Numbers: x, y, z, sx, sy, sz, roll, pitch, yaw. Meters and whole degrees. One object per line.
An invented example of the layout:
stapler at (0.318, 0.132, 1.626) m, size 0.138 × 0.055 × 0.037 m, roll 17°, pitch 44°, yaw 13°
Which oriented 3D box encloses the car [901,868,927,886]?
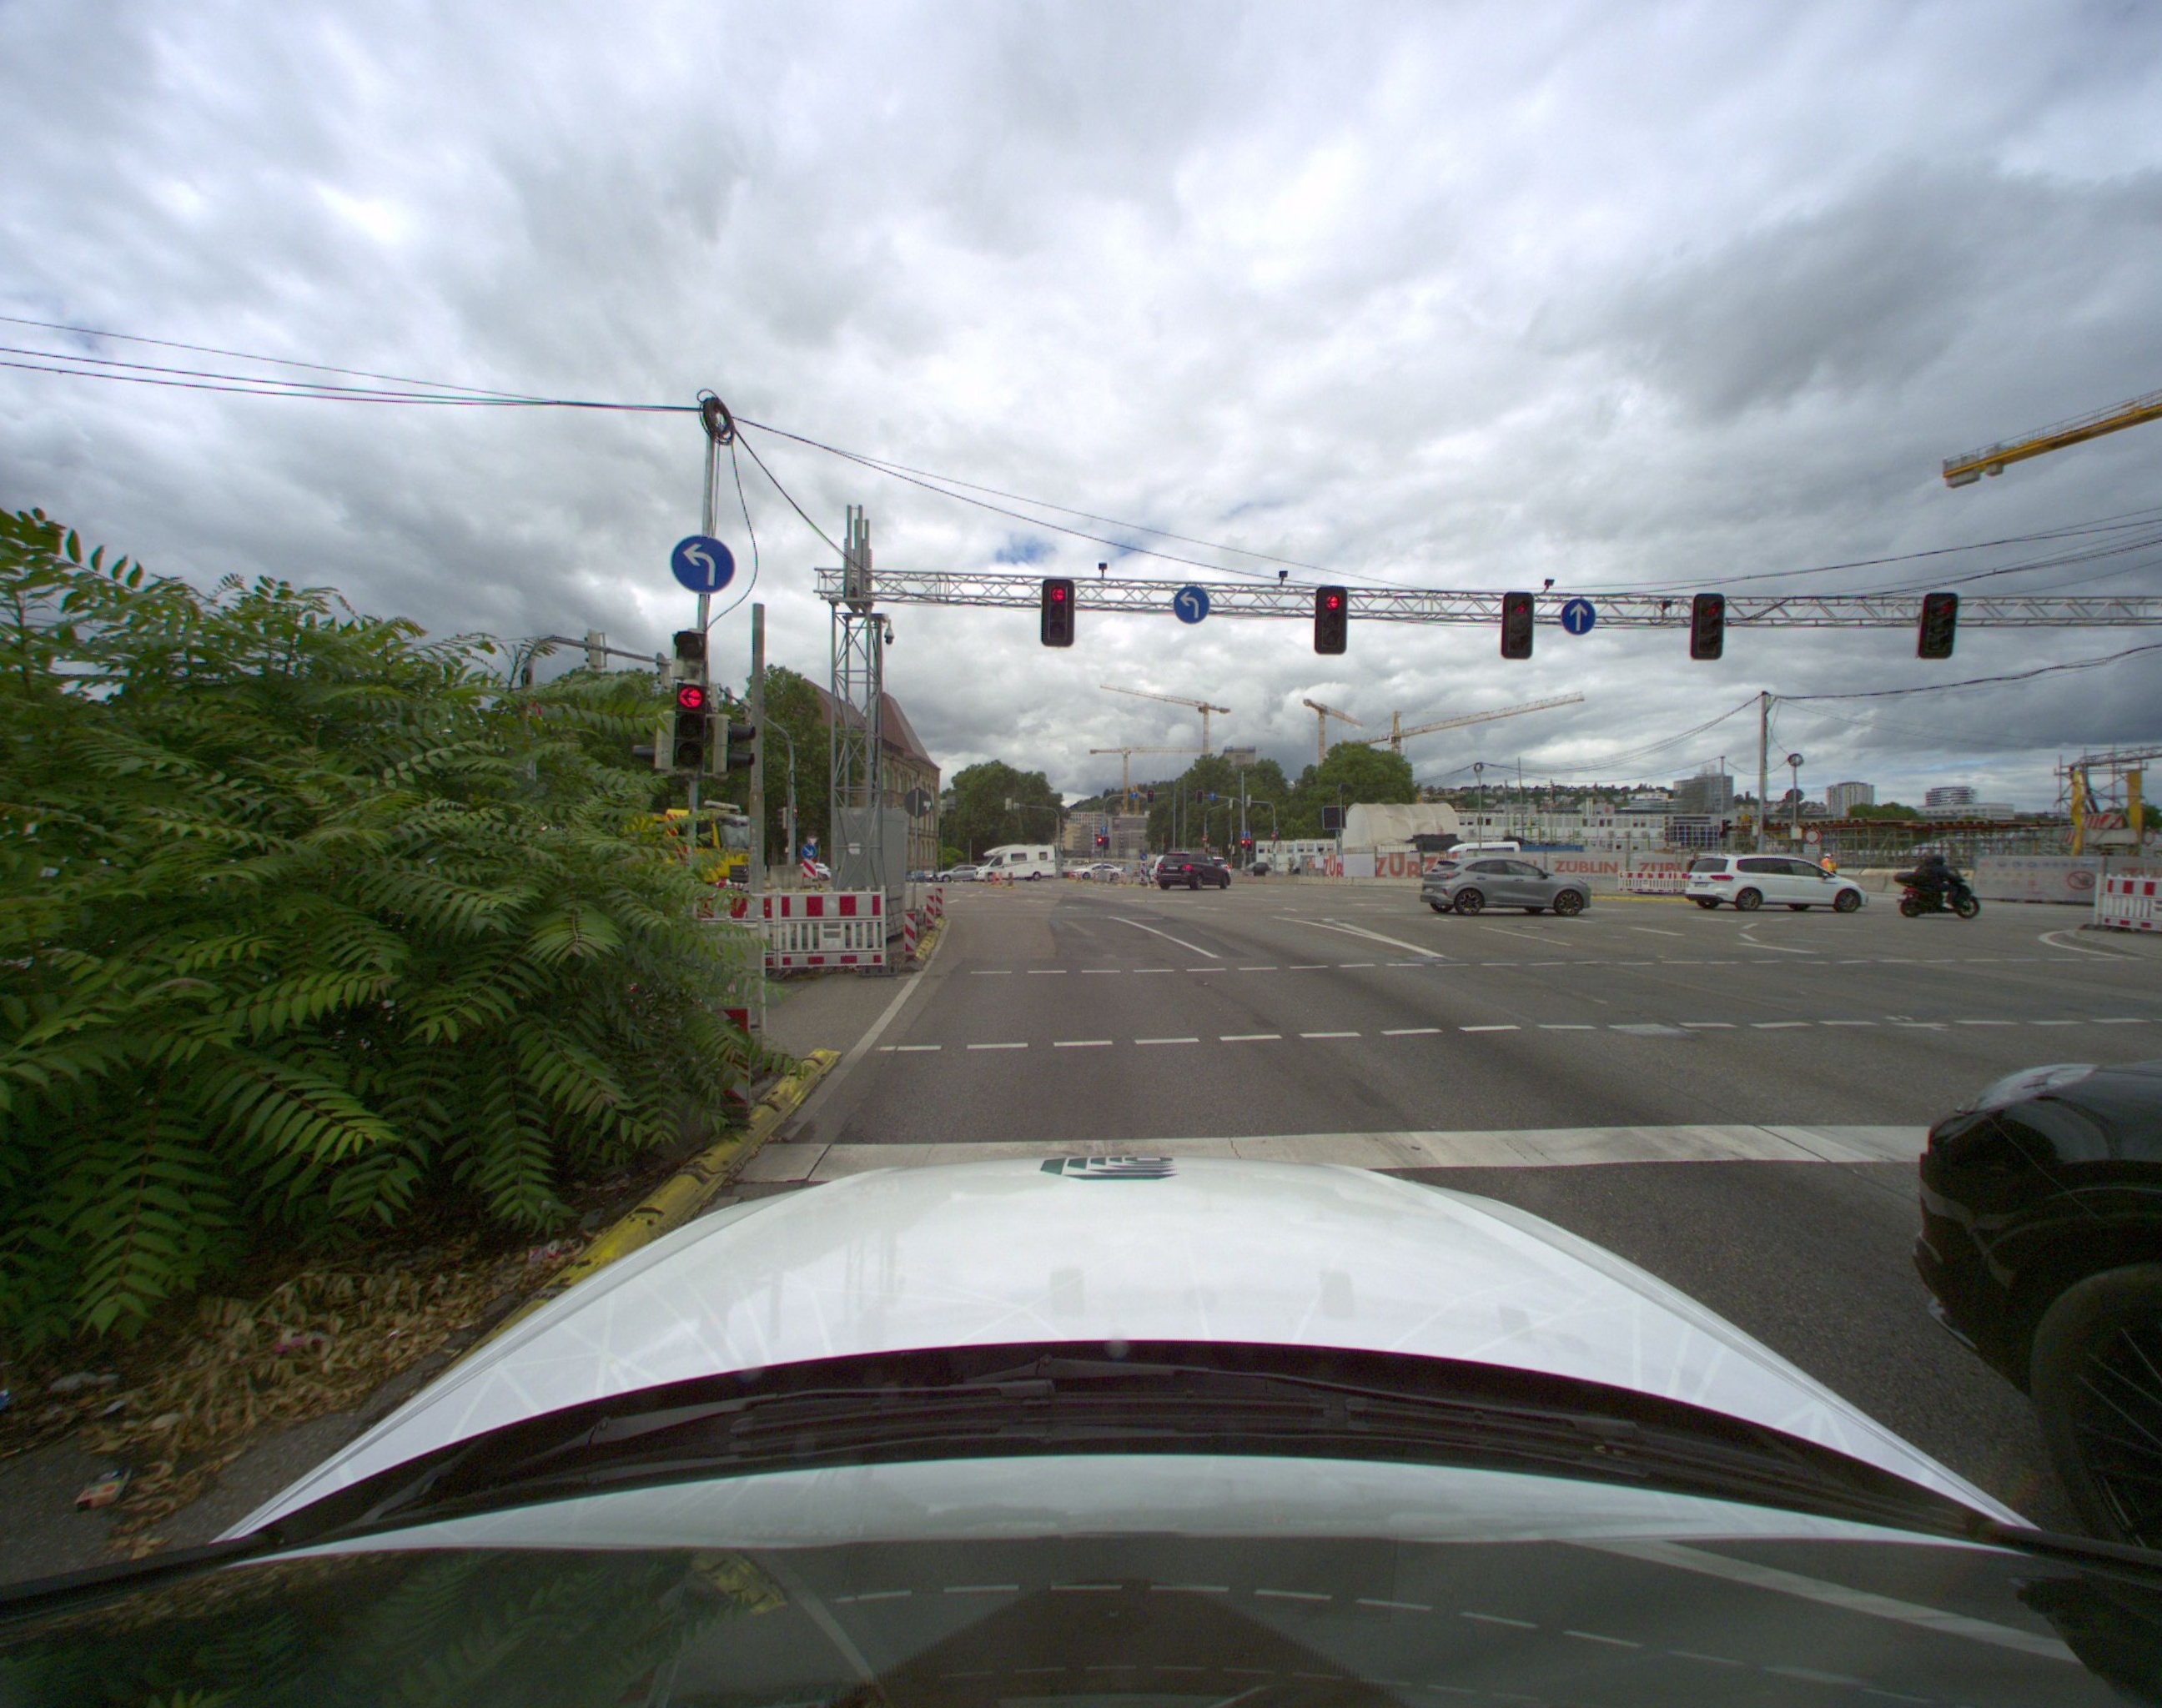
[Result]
car at (-17.889, 2.404, 87.304) m, size 1.987 × 1.838 × 3.998 m, roll 0°, pitch -1°, yaw -1°

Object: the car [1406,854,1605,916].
car at (11.172, 0.792, 21.651) m, size 4.281 × 1.540 × 1.999 m, roll 0°, pitch -1°, yaw -1°

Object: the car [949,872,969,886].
car at (-16.905, 3.489, 113.200) m, size 1.985 × 1.838 × 4.003 m, roll 0°, pitch -1°, yaw 3°

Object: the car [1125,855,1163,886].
car at (3.980, 1.022, 51.891) m, size 1.859 × 1.833 × 4.717 m, roll 0°, pitch -1°, yaw -3°

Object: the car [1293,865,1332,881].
car at (24.887, 2.033, 87.747) m, size 3.959 × 1.728 × 2.007 m, roll -1°, pitch -1°, yaw 13°

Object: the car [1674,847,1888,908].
car at (20.762, 0.681, 24.319) m, size 4.653 × 1.702 × 2.001 m, roll 1°, pitch -1°, yaw 1°

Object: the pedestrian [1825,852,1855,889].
pedestrian at (39.178, 0.843, 42.051) m, size 0.677 × 1.916 × 0.865 m, roll 0°, pitch -1°, yaw -4°

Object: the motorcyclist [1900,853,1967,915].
motorcyclist at (22.371, 0.777, 21.385) m, size 0.875 × 1.571 × 0.818 m, roll 0°, pitch -1°, yaw 2°

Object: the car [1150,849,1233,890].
car at (5.245, 0.691, 38.301) m, size 1.974 × 1.834 × 4.284 m, roll -1°, pitch -1°, yaw 38°

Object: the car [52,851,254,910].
car at (-28.766, 0.805, 25.351) m, size 3.975 × 1.740 × 1.909 m, roll 1°, pitch -1°, yaw -1°

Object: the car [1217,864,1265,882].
car at (15.254, 1.795, 77.569) m, size 3.995 × 1.684 × 1.989 m, roll 0°, pitch -1°, yaw -16°

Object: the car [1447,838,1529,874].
car at (23.472, 0.127, 47.095) m, size 3.955 × 2.014 × 2.009 m, roll -1°, pitch -1°, yaw 17°

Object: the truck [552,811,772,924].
truck at (-10.712, 0.332, 21.197) m, size 4.191 × 2.725 × 2.862 m, roll 0°, pitch -1°, yaw 0°

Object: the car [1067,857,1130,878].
car at (1.583, 1.200, 72.218) m, size 5.188 × 1.785 × 2.149 m, roll 0°, pitch -1°, yaw -21°

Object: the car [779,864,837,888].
car at (-21.148, 1.684, 63.030) m, size 4.164 × 1.724 × 1.895 m, roll 0°, pitch -1°, yaw -22°

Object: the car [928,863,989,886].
car at (-10.086, 1.660, 67.109) m, size 4.585 × 1.775 × 1.985 m, roll 0°, pitch -1°, yaw -23°

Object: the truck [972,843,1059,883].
truck at (-5.260, 0.708, 65.618) m, size 6.607 × 3.146 × 2.350 m, roll 0°, pitch -1°, yaw -22°

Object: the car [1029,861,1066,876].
car at (-3.859, 1.638, 94.221) m, size 3.964 × 1.662 × 2.005 m, roll 0°, pitch -1°, yaw 8°

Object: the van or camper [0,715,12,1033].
van or camper at (-8.916, 0.182, 3.550) m, size 2.159 × 2.610 × 6.044 m, roll 0°, pitch 0°, yaw -19°

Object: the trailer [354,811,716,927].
trailer at (-13.803, 0.365, 21.101) m, size 7.328 × 2.725 × 2.861 m, roll 0°, pitch -1°, yaw -2°

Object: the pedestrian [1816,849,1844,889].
pedestrian at (38.291, 0.749, 41.650) m, size 0.673 × 2.014 × 0.869 m, roll -1°, pitch -1°, yaw 14°

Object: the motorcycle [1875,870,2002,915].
motorcycle at (22.482, 0.998, 21.379) m, size 2.413 × 1.155 × 0.818 m, roll 0°, pitch -1°, yaw 2°

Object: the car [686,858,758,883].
car at (-25.626, 1.177, 58.306) m, size 4.602 × 1.724 × 1.895 m, roll 0°, pitch -1°, yaw -22°

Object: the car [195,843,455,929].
car at (-16.365, 0.673, 17.771) m, size 3.969 × 1.740 × 1.912 m, roll 0°, pitch -1°, yaw 3°

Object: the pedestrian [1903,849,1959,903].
pedestrian at (32.454, 0.835, 31.117) m, size 1.025 × 2.014 × 1.049 m, roll -1°, pitch -1°, yaw 8°

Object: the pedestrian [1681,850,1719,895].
pedestrian at (25.743, 0.760, 33.901) m, size 1.035 × 1.848 × 0.794 m, roll -1°, pitch -1°, yaw 17°

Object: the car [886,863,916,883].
car at (-17.263, 1.821, 78.300) m, size 1.987 × 1.838 × 3.998 m, roll 0°, pitch -1°, yaw -1°

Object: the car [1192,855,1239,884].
car at (8.582, 0.984, 52.441) m, size 1.990 × 1.759 × 4.497 m, roll 0°, pitch -1°, yaw -5°

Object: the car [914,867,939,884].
car at (-17.808, 2.459, 94.089) m, size 1.985 × 1.838 × 4.003 m, roll 0°, pitch -1°, yaw 3°
